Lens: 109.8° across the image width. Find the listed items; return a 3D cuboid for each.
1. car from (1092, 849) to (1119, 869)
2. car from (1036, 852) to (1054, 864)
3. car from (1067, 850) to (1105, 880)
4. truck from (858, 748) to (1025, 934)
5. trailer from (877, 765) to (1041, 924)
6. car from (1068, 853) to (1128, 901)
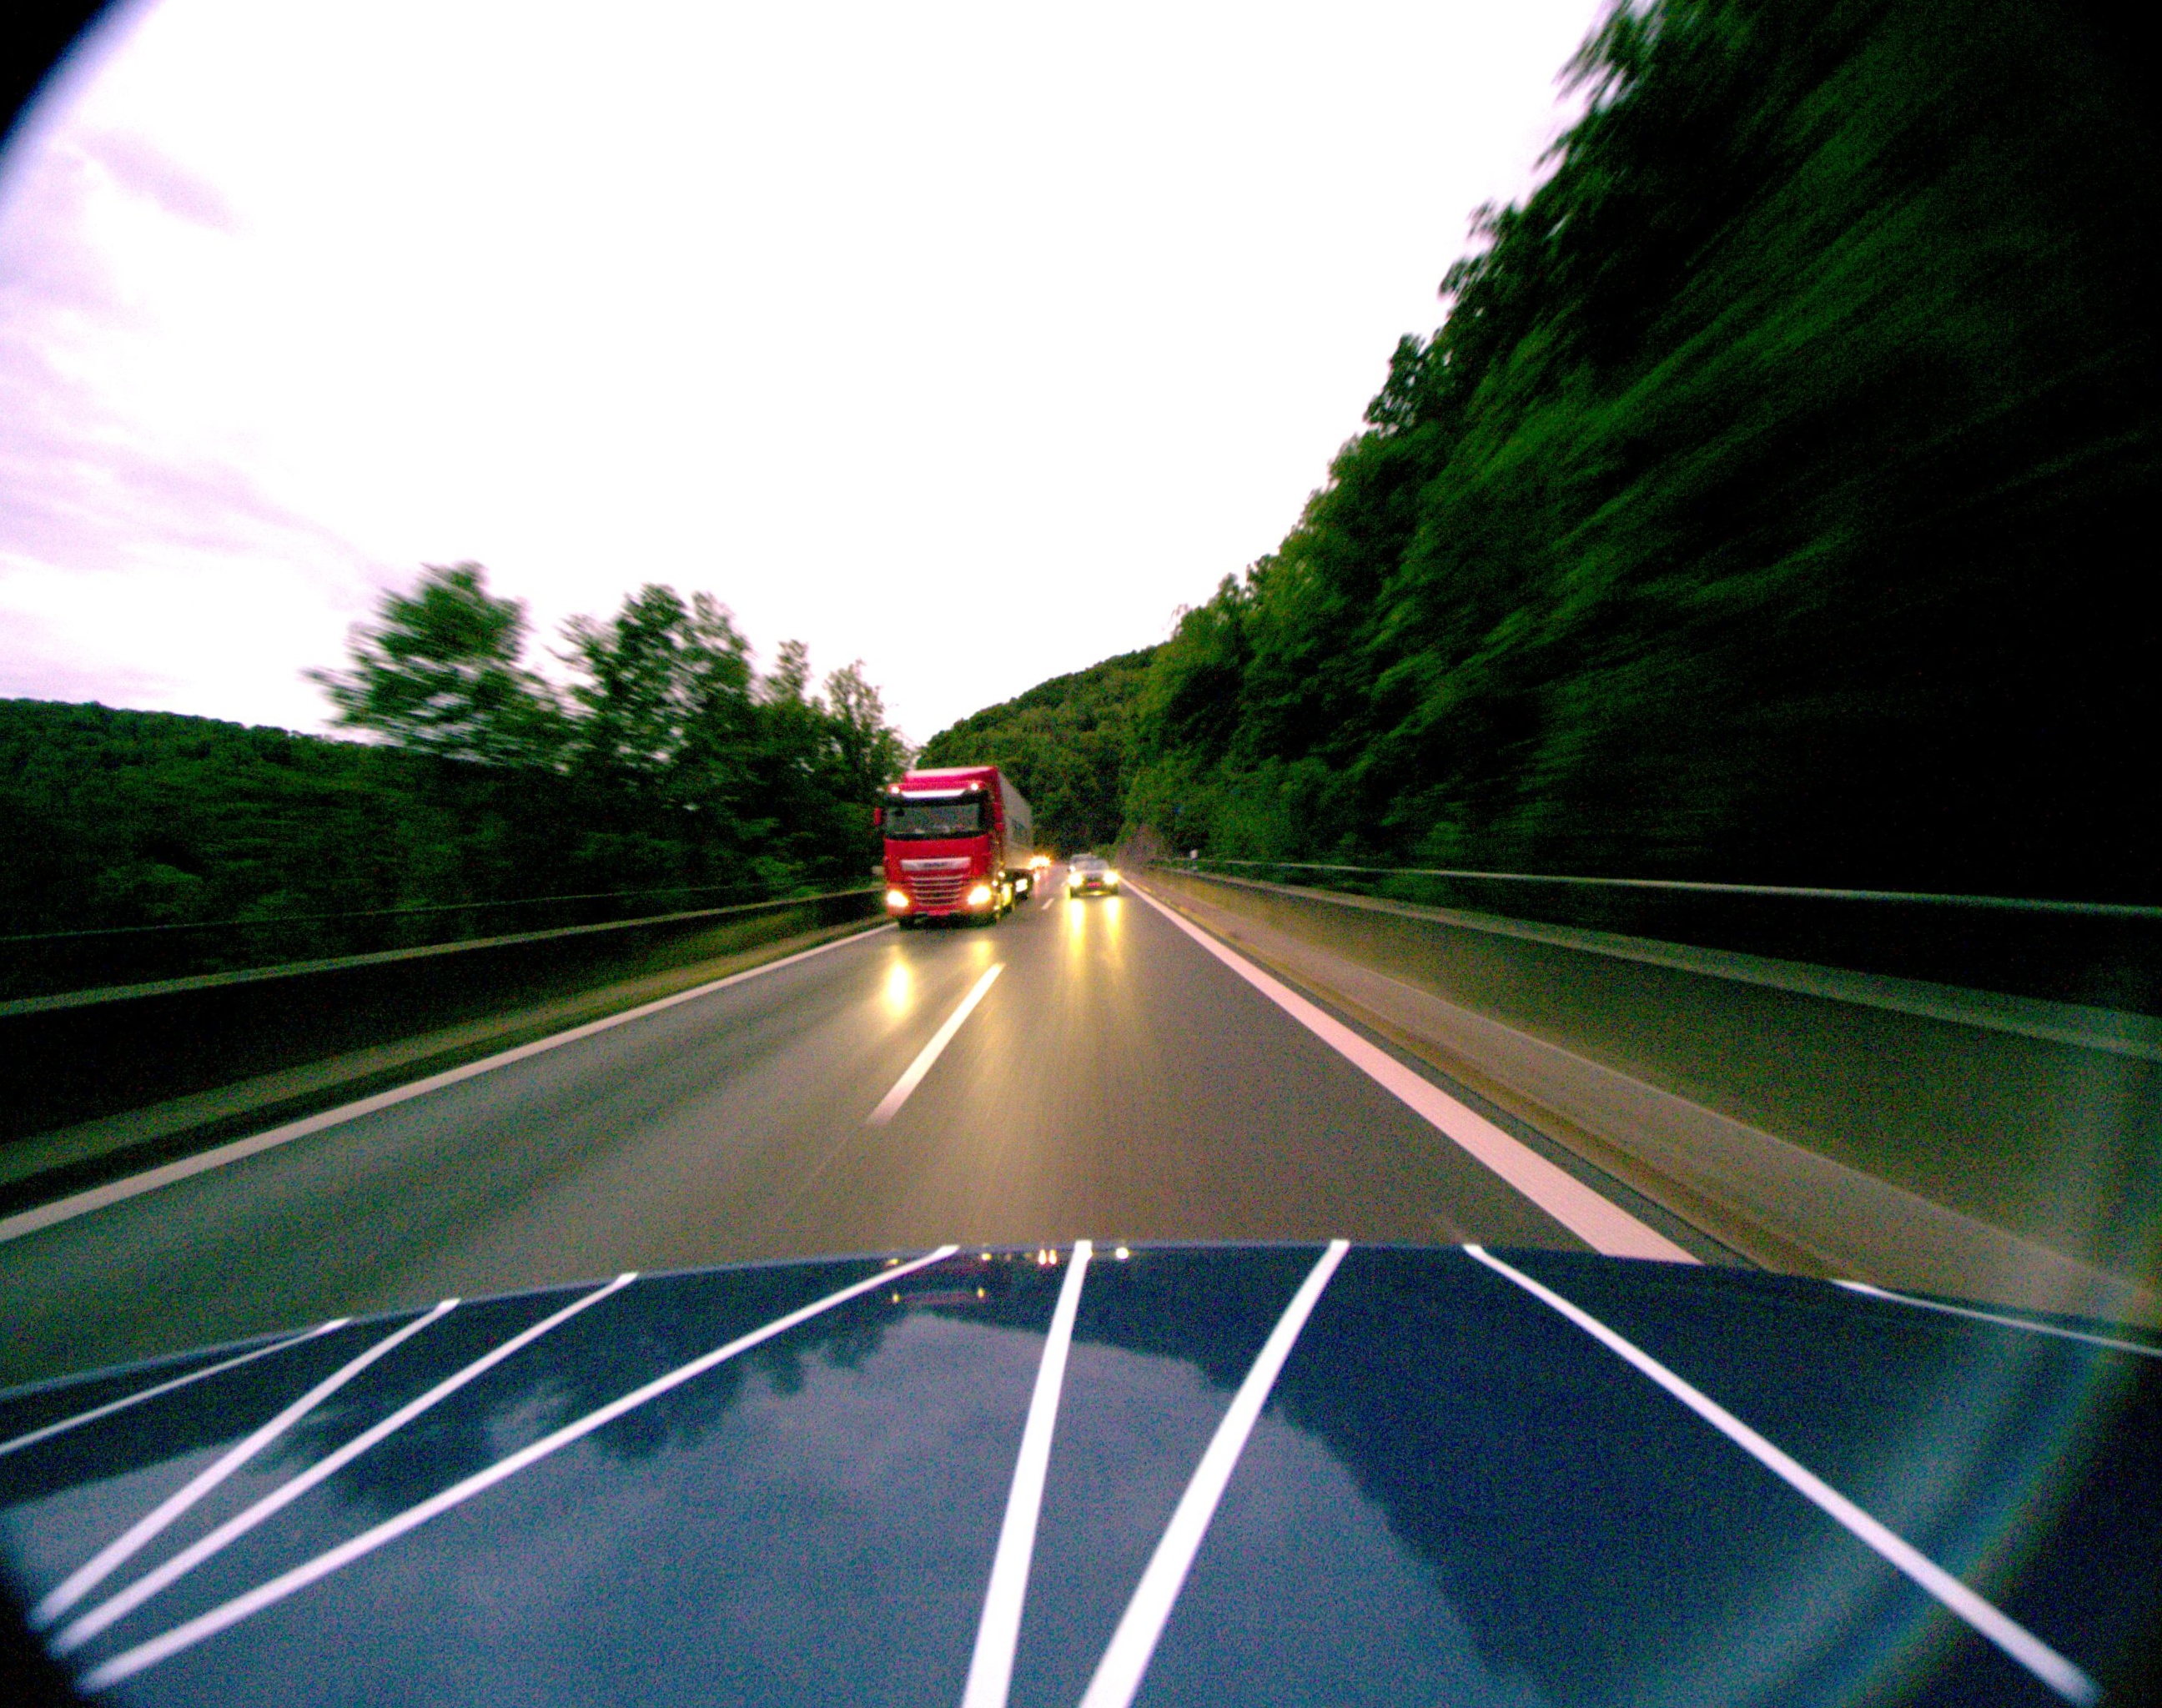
[{"bbox_3d":[1.900,0.416,61.132,1.999,1.499,4.000,1,-1,0],"label":"car"},{"bbox_3d":[-5.534,0.621,116.057,2.001,1.761,3.995,1,0,-14],"label":"car"},{"bbox_3d":[0.351,0.656,46.863,1.998,1.630,4.001,-4,0,4],"label":"car"},{"bbox_3d":[-3.423,-0.307,20.519,3.077,4.120,6.446,-2,0,1],"label":"truck"},{"bbox_3d":[-3.491,-0.207,26.606,3.105,3.946,14.218,-3,0,1],"label":"trailer"},{"bbox_3d":[0.695,0.783,28.470,1.998,1.499,4.000,-3,1,3],"label":"car"}]
